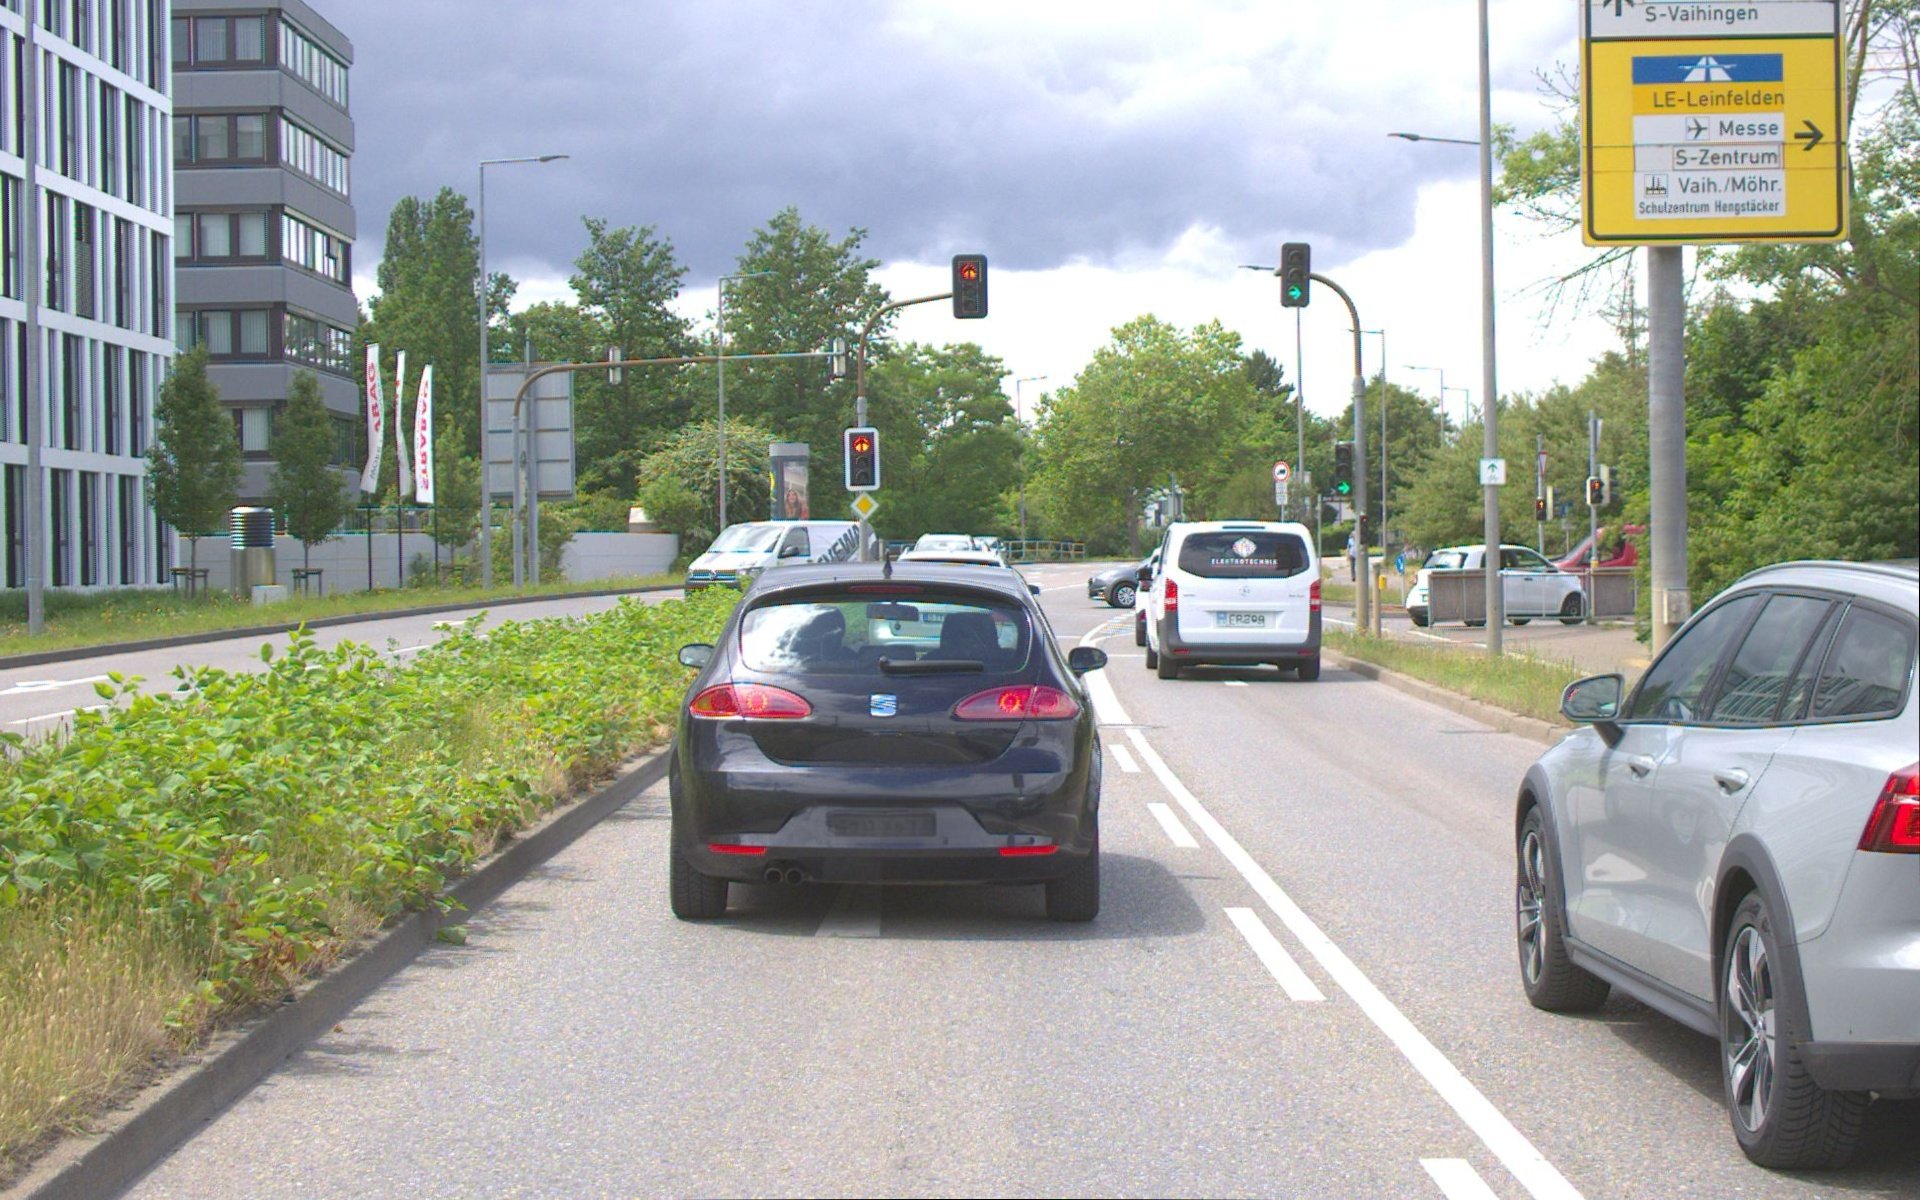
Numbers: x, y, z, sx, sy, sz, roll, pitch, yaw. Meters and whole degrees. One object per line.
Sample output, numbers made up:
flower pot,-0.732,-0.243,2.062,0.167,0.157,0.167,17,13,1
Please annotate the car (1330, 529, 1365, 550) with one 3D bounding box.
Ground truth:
car,25.361,-3.935,225.007,1.994,1.347,3.999,1,1,10

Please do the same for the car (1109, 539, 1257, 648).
car,3.451,-0.130,53.846,1.993,1.626,4.000,0,1,-1

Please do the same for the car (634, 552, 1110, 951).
car,-0.288,0.545,14.744,1.773,1.447,3.582,1,1,2

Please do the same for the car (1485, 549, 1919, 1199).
car,2.762,0.635,9.337,1.863,1.513,4.447,-1,1,-2

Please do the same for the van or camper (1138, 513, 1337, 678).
van or camper,3.266,-0.095,41.330,1.993,1.853,4.944,0,1,0

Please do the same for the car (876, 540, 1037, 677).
car,-0.060,0.063,40.056,1.773,1.486,3.582,-1,1,-1

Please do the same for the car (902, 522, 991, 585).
car,-0.335,-1.239,90.438,1.994,1.590,4.000,0,1,5

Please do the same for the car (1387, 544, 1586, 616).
car,10.073,-0.389,65.841,3.378,1.341,1.690,-1,1,-13

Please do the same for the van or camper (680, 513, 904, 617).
van or camper,-3.326,-0.719,69.062,1.997,2.007,4.806,0,1,34

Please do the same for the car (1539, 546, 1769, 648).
car,16.618,-0.089,82.521,5.224,2.404,2.000,0,1,6

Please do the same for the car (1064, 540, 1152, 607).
car,3.637,-0.671,83.978,1.994,1.590,4.000,0,1,5
